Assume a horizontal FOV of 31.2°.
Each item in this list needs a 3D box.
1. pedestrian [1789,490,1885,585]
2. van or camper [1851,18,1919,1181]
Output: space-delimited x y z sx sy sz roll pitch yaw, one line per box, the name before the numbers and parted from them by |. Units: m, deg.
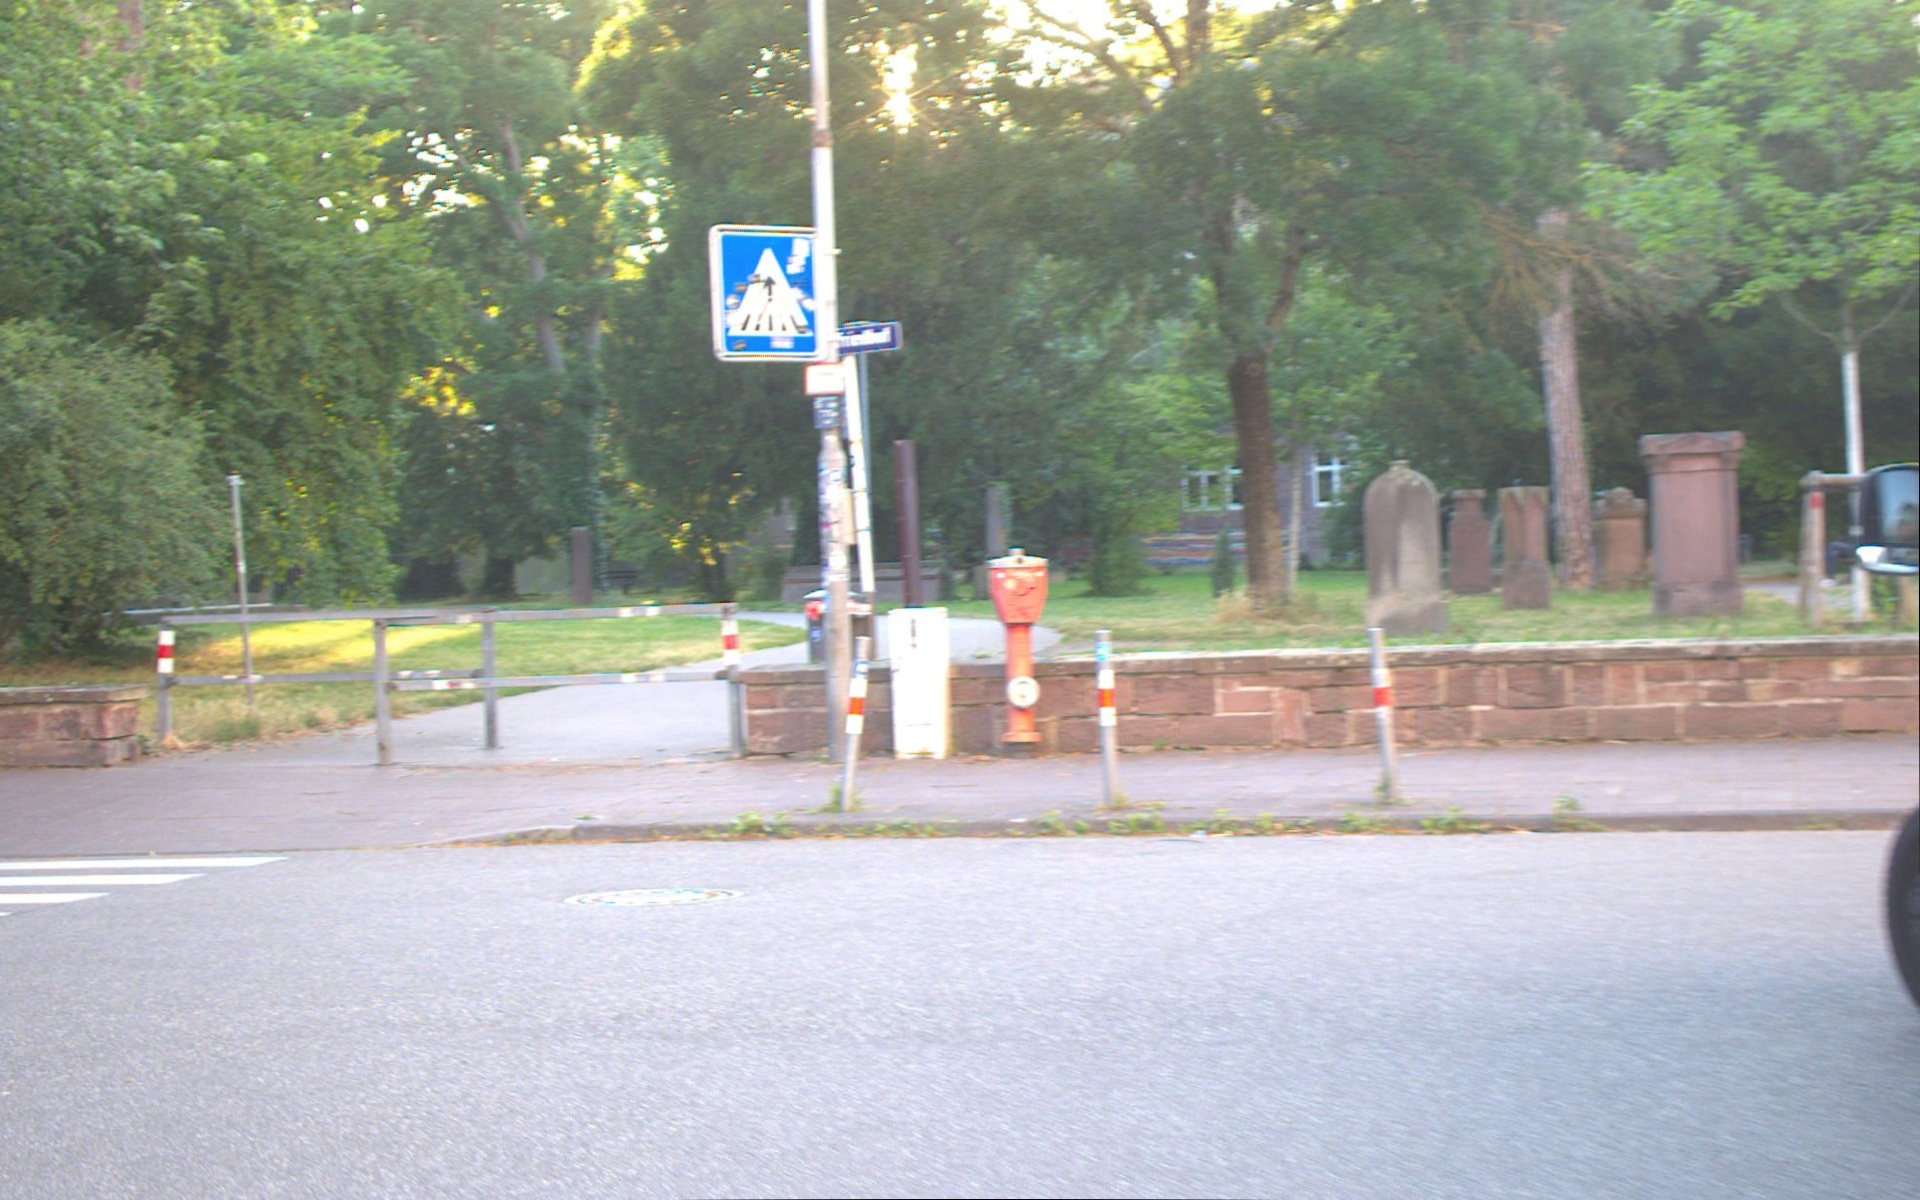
pedestrian | 13.780 -0.991 54.050 1.328 1.439 1.046 -2 1 9
van or camper | 3.075 0.011 7.245 1.994 2.609 6.400 0 1 12
